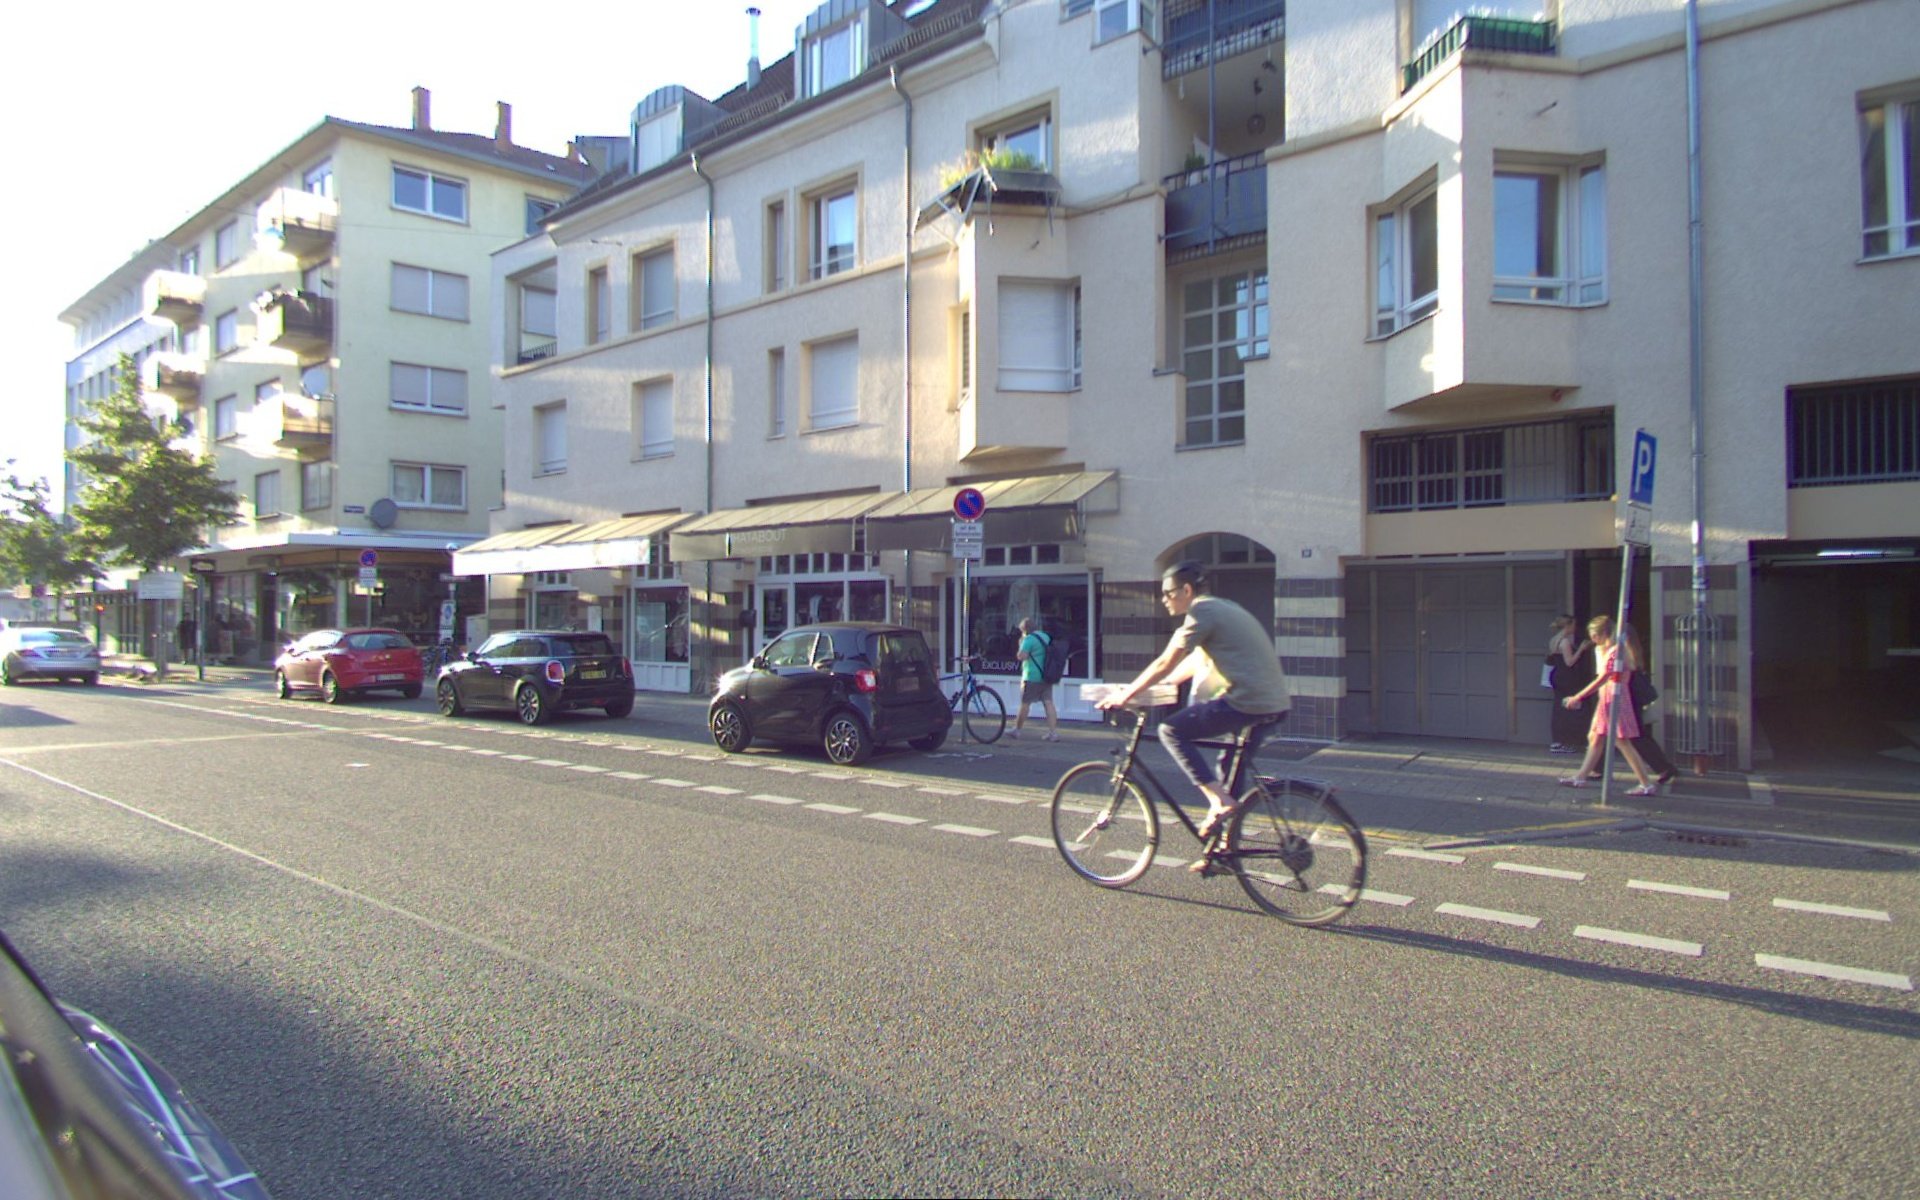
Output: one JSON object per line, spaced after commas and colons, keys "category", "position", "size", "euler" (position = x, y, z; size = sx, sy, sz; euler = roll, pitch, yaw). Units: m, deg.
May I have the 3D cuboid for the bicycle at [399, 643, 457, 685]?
{"category": "bicycle", "position": [-13.823, 1.647, 26.267], "size": [2.011, 0.999, 0.485], "euler": [-1, 0, 36]}

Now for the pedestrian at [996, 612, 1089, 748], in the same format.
{"category": "pedestrian", "position": [1.054, 0.982, 12.901], "size": [0.949, 1.654, 0.710], "euler": [-1, 0, 35]}

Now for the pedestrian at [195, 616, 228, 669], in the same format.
{"category": "pedestrian", "position": [-26.513, 1.509, 35.830], "size": [0.812, 1.833, 0.733], "euler": [-3, -3, 39]}

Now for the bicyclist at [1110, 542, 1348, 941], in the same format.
{"category": "bicyclist", "position": [1.415, 0.667, 5.306], "size": [1.005, 1.843, 0.774], "euler": [-1, -2, 35]}

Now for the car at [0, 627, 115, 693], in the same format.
{"category": "car", "position": [-23.456, 1.483, 25.762], "size": [4.502, 1.523, 1.975], "euler": [-1, -4, 37]}

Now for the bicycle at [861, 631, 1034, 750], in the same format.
{"category": "bicycle", "position": [-0.204, 1.123, 13.139], "size": [2.354, 1.385, 0.605], "euler": [-1, 0, 37]}

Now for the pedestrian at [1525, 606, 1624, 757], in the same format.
{"category": "pedestrian", "position": [6.996, 0.892, 11.518], "size": [0.854, 1.628, 0.709], "euler": [-1, 0, 40]}

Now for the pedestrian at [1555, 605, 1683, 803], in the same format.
{"category": "pedestrian", "position": [5.904, 0.880, 9.073], "size": [0.855, 1.654, 0.709], "euler": [-1, 0, 42]}

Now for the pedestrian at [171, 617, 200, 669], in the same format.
{"category": "pedestrian", "position": [-27.728, 1.537, 36.244], "size": [0.758, 1.862, 0.744], "euler": [1, -3, -43]}

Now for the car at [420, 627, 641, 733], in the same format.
{"category": "car", "position": [-7.012, 1.201, 16.416], "size": [3.719, 1.464, 1.695], "euler": [-1, 0, 38]}

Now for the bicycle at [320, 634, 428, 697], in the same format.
{"category": "bicycle", "position": [-13.617, 1.479, 23.468], "size": [3.120, 1.310, 0.950], "euler": [-1, 0, 36]}

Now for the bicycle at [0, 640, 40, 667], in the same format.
{"category": "bicycle", "position": [-37.953, 2.149, 40.234], "size": [0.490, 0.999, 1.993], "euler": [-1, 0, 33]}

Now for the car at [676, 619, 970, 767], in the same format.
{"category": "car", "position": [-1.681, 1.008, 12.272], "size": [3.181, 1.547, 1.777], "euler": [-1, -1, 35]}

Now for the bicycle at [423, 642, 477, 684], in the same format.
{"category": "bicycle", "position": [-13.450, 1.640, 26.668], "size": [2.013, 0.999, 0.485], "euler": [-1, 0, 39]}

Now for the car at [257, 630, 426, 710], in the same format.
{"category": "car", "position": [-12.639, 1.353, 20.607], "size": [3.877, 1.413, 1.645], "euler": [-1, 0, 37]}

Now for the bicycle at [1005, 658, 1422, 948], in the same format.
{"category": "bicycle", "position": [1.293, 0.949, 5.378], "size": [2.016, 1.213, 0.774], "euler": [-1, -2, 35]}

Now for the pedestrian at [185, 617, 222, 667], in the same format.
{"category": "pedestrian", "position": [-25.900, 1.421, 34.644], "size": [0.757, 1.689, 0.744], "euler": [0, -1, -10]}

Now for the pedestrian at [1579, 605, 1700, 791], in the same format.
{"category": "pedestrian", "position": [6.448, 0.879, 9.610], "size": [0.855, 1.654, 0.709], "euler": [-1, 0, 42]}
